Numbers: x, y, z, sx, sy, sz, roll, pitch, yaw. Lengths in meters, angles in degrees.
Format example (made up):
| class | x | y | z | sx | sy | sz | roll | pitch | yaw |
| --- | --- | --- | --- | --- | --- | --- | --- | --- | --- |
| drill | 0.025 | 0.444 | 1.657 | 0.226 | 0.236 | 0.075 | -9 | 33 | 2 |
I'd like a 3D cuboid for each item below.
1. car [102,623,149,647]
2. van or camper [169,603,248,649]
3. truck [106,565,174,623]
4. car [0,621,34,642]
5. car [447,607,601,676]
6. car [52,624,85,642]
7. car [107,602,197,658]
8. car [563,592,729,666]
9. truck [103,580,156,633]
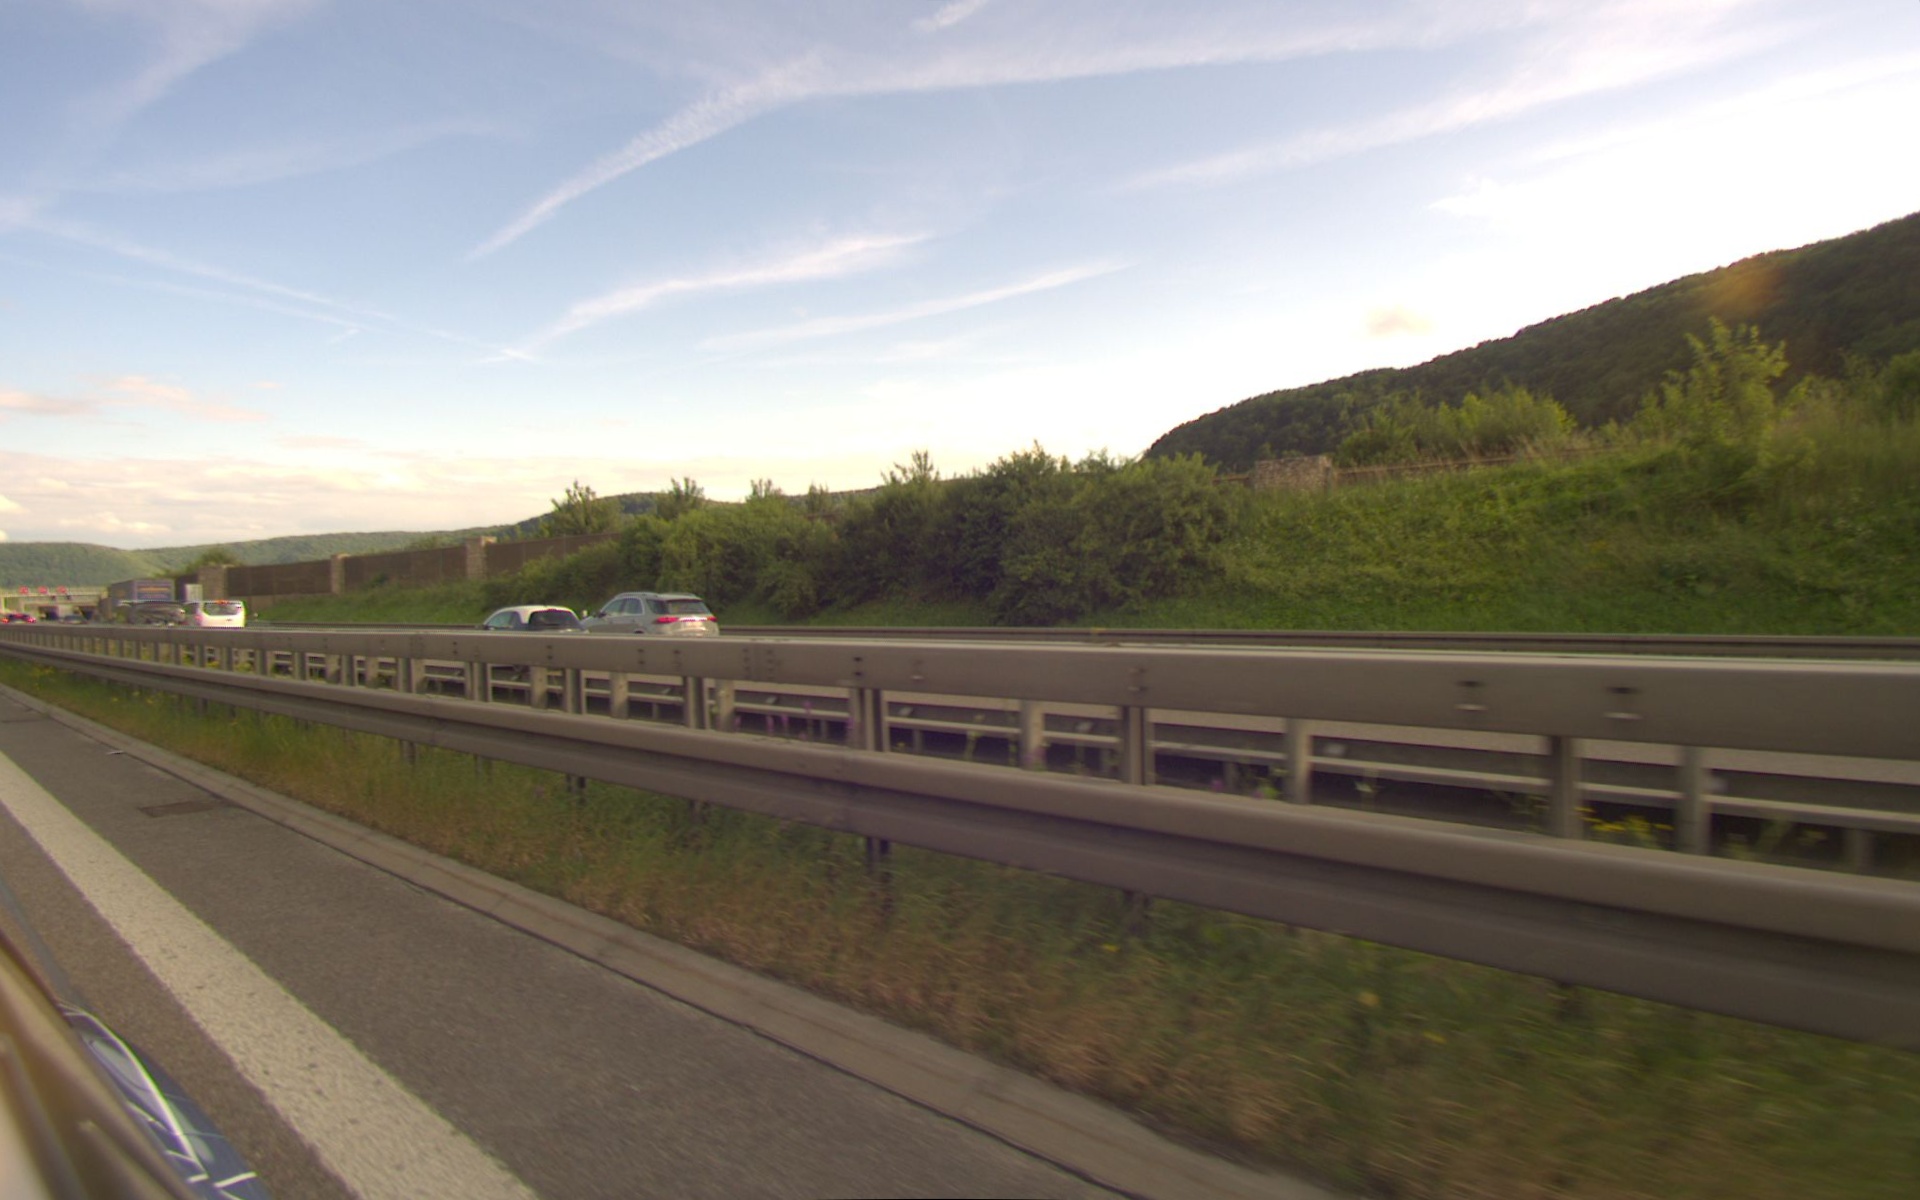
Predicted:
| class | x | y | z | sx | sy | sz | roll | pitch | yaw |
| --- | --- | --- | --- | --- | --- | --- | --- | --- | --- |
| car | -51.463 | 2.142 | 62.367 | 3.999 | 1.407 | 1.666 | -1 | -1 | 42 |
| van or camper | -33.868 | 1.145 | 45.568 | 5.399 | 1.954 | 1.829 | -1 | -1 | 42 |
| truck | -66.863 | -0.353 | 82.326 | 14.684 | 4.311 | 2.620 | -1 | -1 | 44 |
| car | -69.682 | 2.298 | 74.653 | 3.999 | 1.470 | 1.666 | -1 | -1 | 42 |
| car | -10.206 | 0.920 | 23.559 | 4.344 | 1.446 | 1.626 | -1 | 0 | 42 |
| car | -75.392 | 2.783 | 85.576 | 3.999 | 1.407 | 1.666 | -1 | -1 | 42 |
| car | -29.755 | 1.075 | 37.244 | 4.344 | 1.906 | 1.909 | -1 | -1 | 42 |
| car | -8.265 | 0.720 | 26.366 | 4.878 | 1.735 | 1.909 | -1 | -1 | 42 |
| truck | -70.771 | 0.566 | 86.177 | 8.170 | 4.292 | 2.620 | -1 | -1 | 44 |
